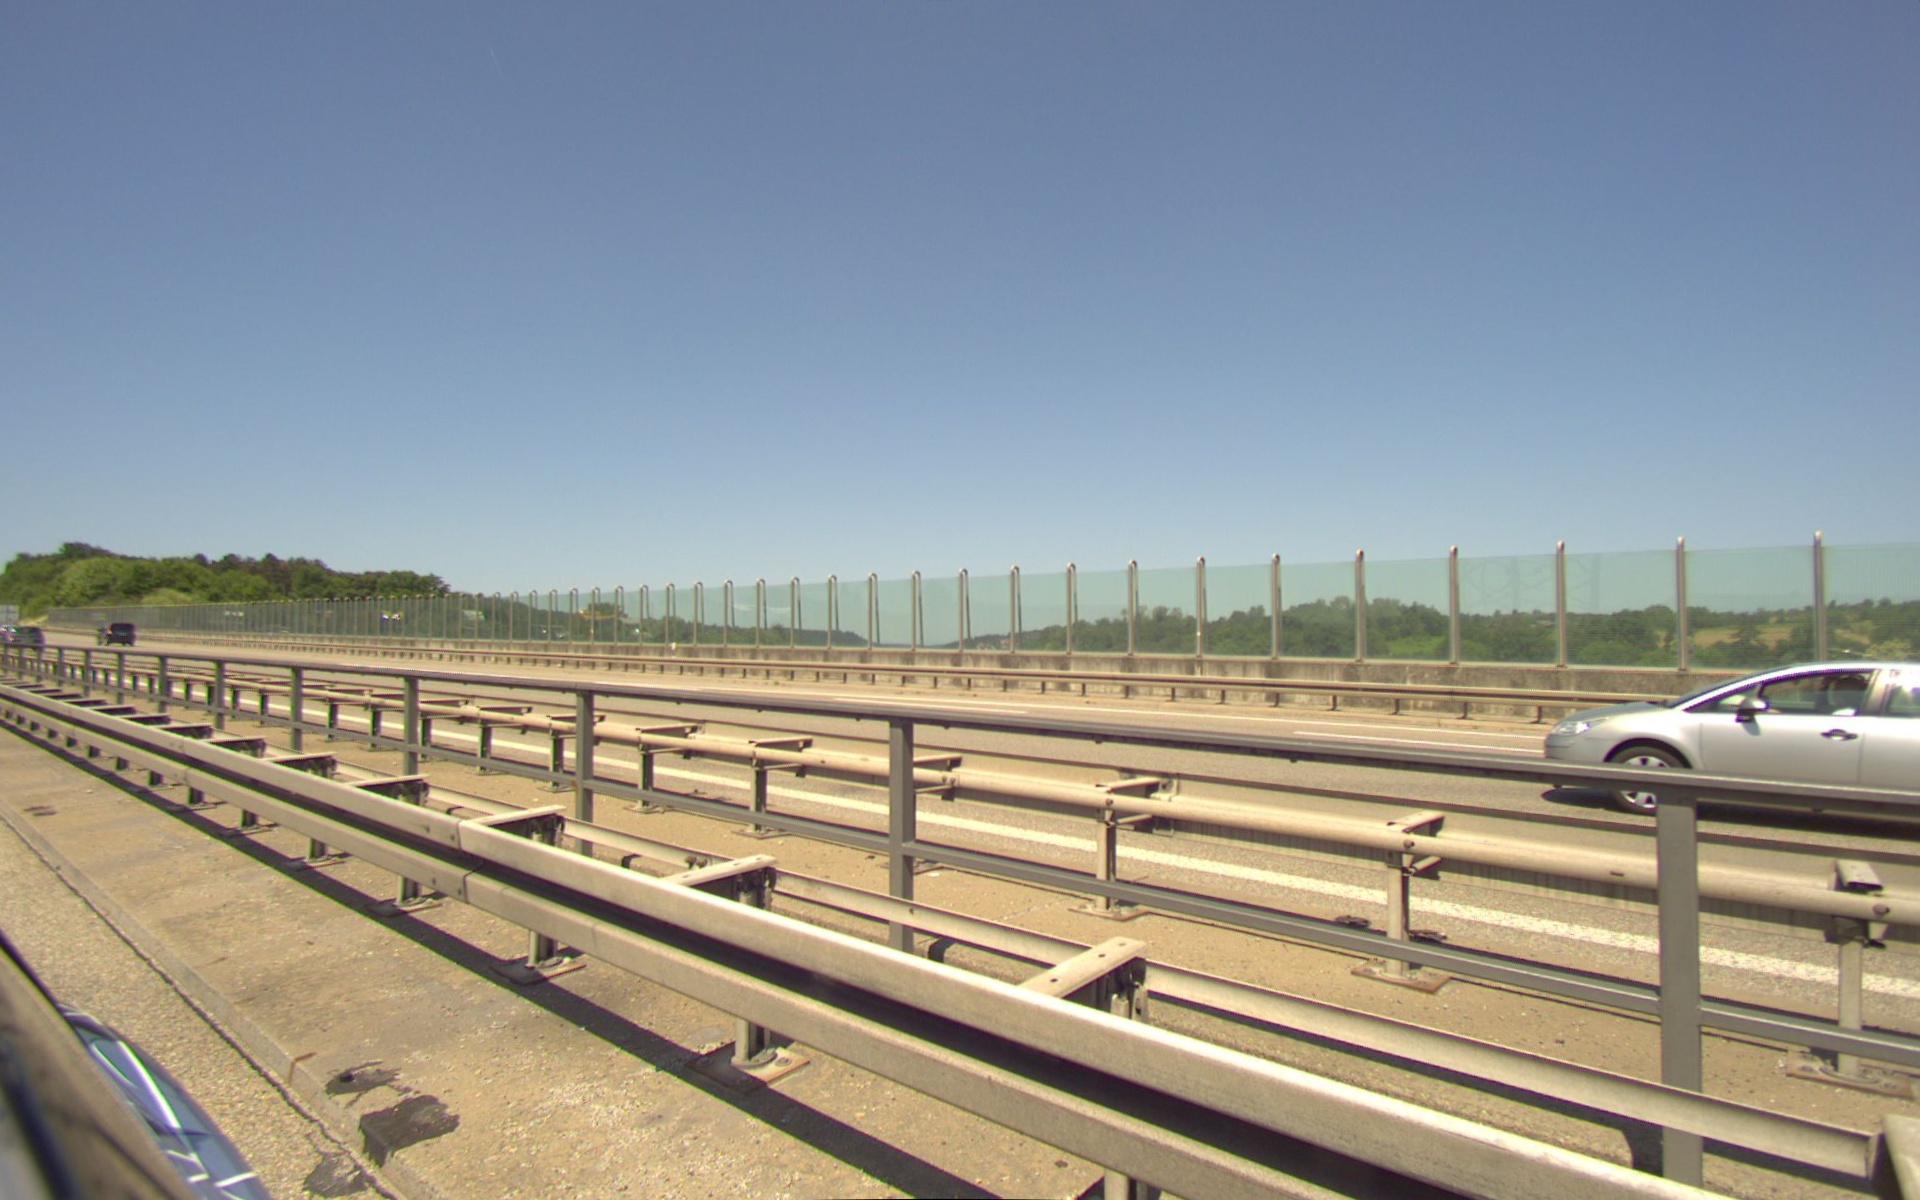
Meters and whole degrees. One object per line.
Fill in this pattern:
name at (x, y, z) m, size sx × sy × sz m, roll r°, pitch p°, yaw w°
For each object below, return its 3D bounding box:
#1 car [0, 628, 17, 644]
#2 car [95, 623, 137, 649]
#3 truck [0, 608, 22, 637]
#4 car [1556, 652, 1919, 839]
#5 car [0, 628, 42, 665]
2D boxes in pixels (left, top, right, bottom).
car at (-90.077, 3.373, 95.345) m, size 3.199 × 1.512 × 1.454 m, roll -1°, pitch -2°, yaw 41°
car at (-68.664, 2.914, 82.333) m, size 3.967 × 2.029 × 1.995 m, roll -1°, pitch 0°, yaw 41°
truck at (-126.437, 2.930, 133.553) m, size 6.973 × 3.676 × 3.247 m, roll -1°, pitch 0°, yaw 41°
car at (7.601, 1.173, 8.662) m, size 4.075 × 1.392 × 1.744 m, roll -2°, pitch -4°, yaw 40°
car at (-53.322, 2.597, 57.279) m, size 3.544 × 2.029 × 1.563 m, roll -2°, pitch -3°, yaw 41°
